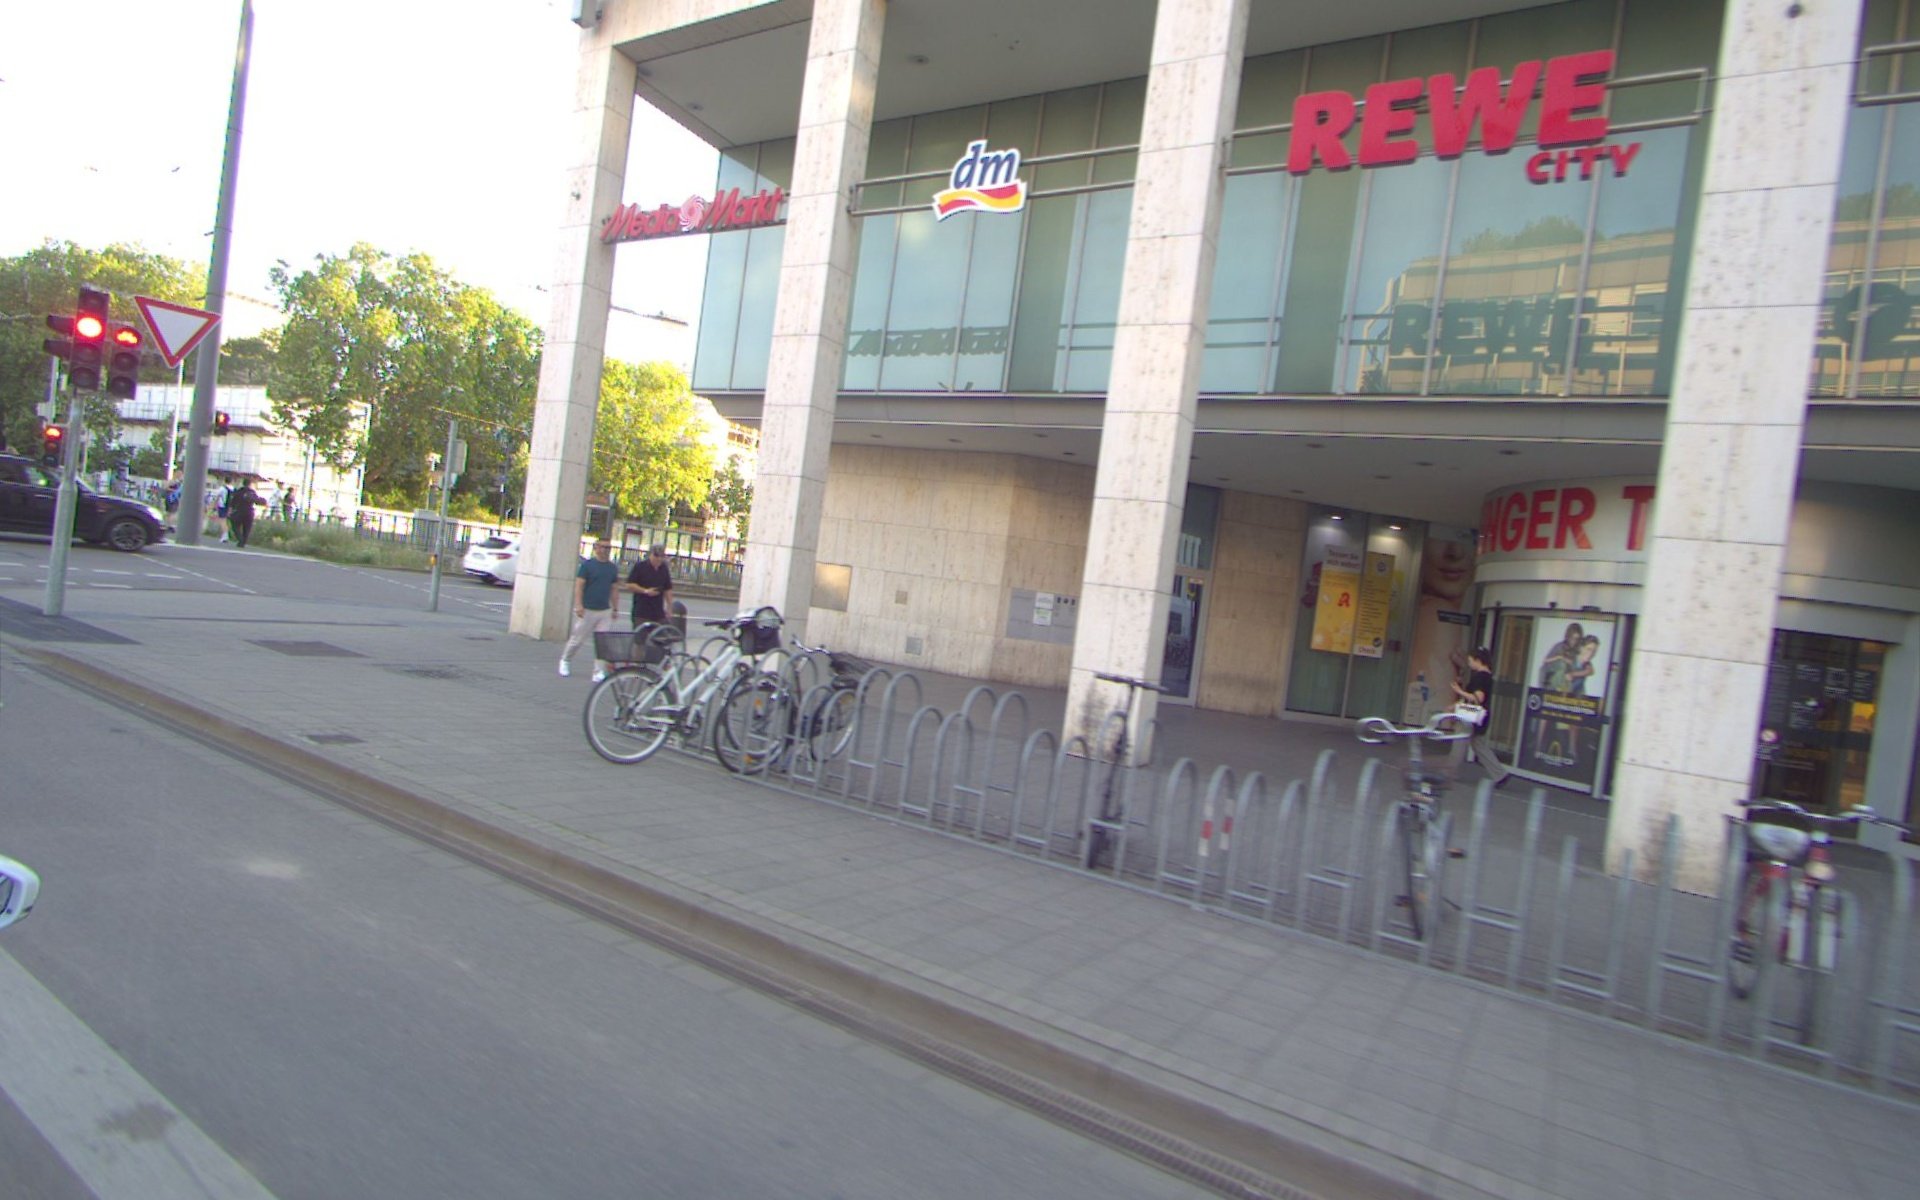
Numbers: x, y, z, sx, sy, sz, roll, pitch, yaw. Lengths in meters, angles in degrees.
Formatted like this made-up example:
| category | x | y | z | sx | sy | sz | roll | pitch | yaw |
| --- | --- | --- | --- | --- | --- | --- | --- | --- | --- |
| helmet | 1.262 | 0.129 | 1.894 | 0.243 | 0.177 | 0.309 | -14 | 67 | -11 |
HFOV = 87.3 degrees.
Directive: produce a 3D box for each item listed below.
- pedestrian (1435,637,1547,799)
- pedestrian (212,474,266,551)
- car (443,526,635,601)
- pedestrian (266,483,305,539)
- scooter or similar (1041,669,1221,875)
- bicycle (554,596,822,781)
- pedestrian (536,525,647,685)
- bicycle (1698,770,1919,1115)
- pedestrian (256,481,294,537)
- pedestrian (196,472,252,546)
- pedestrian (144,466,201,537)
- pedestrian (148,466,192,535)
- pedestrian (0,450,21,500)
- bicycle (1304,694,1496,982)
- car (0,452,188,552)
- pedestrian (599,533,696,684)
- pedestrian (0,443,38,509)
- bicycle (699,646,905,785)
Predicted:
| category | x | y | z | sx | sy | sz | roll | pitch | yaw |
| --- | --- | --- | --- | --- | --- | --- | --- | --- | --- |
| pedestrian | 6.587 | 1.423 | 12.466 | 0.974 | 1.800 | 0.861 | 8 | 3 | 31 |
| pedestrian | -18.824 | -2.272 | 26.280 | 0.884 | 1.854 | 0.683 | 7 | 1 | -25 |
| car | -12.263 | -1.014 | 29.613 | 2.092 | 1.514 | 4.803 | 8 | 0 | 31 |
| pedestrian | -22.741 | -2.998 | 33.913 | 0.825 | 1.752 | 0.686 | 8 | 2 | 34 |
| scooter or similar | 1.203 | 1.117 | 6.879 | 0.662 | 1.174 | 1.278 | 8 | 0 | 31 |
| bicycle | -2.032 | 0.693 | 7.703 | 1.811 | 1.227 | 0.563 | 7 | 1 | -43 |
| pedestrian | -4.437 | 0.057 | 12.123 | 0.728 | 1.801 | 0.860 | 8 | 4 | 33 |
| bicycle | 4.076 | 1.523 | 4.934 | 0.561 | 1.128 | 1.871 | 8 | 2 | 35 |
| pedestrian | -23.401 | -3.104 | 34.363 | 0.825 | 1.752 | 0.686 | 8 | 2 | 35 |
| pedestrian | -20.196 | -2.488 | 27.600 | 0.676 | 1.863 | 0.893 | 8 | 1 | 32 |
| pedestrian | -21.070 | -2.628 | 26.928 | 0.676 | 1.752 | 0.893 | 8 | 1 | 33 |
| pedestrian | -21.717 | -2.732 | 27.645 | 0.883 | 1.752 | 0.684 | 9 | 2 | 42 |
| pedestrian | -35.637 | -4.672 | 37.319 | 0.795 | 1.752 | 0.688 | 8 | 1 | 6 |
| bicycle | 2.628 | 1.254 | 5.874 | 0.662 | 1.276 | 1.869 | 8 | 1 | 30 |
| car | -18.034 | -2.016 | 19.389 | 2.092 | 1.514 | 4.466 | 8 | 0 | 31 |
| pedestrian | -3.986 | 0.106 | 12.823 | 0.728 | 1.801 | 0.756 | 8 | 4 | 33 |
| pedestrian | -27.337 | -3.594 | 29.124 | 0.729 | 1.752 | 0.692 | 8 | 2 | 34 |
| bicycle | -1.231 | 0.911 | 8.275 | 0.508 | 0.948 | 1.869 | 8 | 1 | 30 |
